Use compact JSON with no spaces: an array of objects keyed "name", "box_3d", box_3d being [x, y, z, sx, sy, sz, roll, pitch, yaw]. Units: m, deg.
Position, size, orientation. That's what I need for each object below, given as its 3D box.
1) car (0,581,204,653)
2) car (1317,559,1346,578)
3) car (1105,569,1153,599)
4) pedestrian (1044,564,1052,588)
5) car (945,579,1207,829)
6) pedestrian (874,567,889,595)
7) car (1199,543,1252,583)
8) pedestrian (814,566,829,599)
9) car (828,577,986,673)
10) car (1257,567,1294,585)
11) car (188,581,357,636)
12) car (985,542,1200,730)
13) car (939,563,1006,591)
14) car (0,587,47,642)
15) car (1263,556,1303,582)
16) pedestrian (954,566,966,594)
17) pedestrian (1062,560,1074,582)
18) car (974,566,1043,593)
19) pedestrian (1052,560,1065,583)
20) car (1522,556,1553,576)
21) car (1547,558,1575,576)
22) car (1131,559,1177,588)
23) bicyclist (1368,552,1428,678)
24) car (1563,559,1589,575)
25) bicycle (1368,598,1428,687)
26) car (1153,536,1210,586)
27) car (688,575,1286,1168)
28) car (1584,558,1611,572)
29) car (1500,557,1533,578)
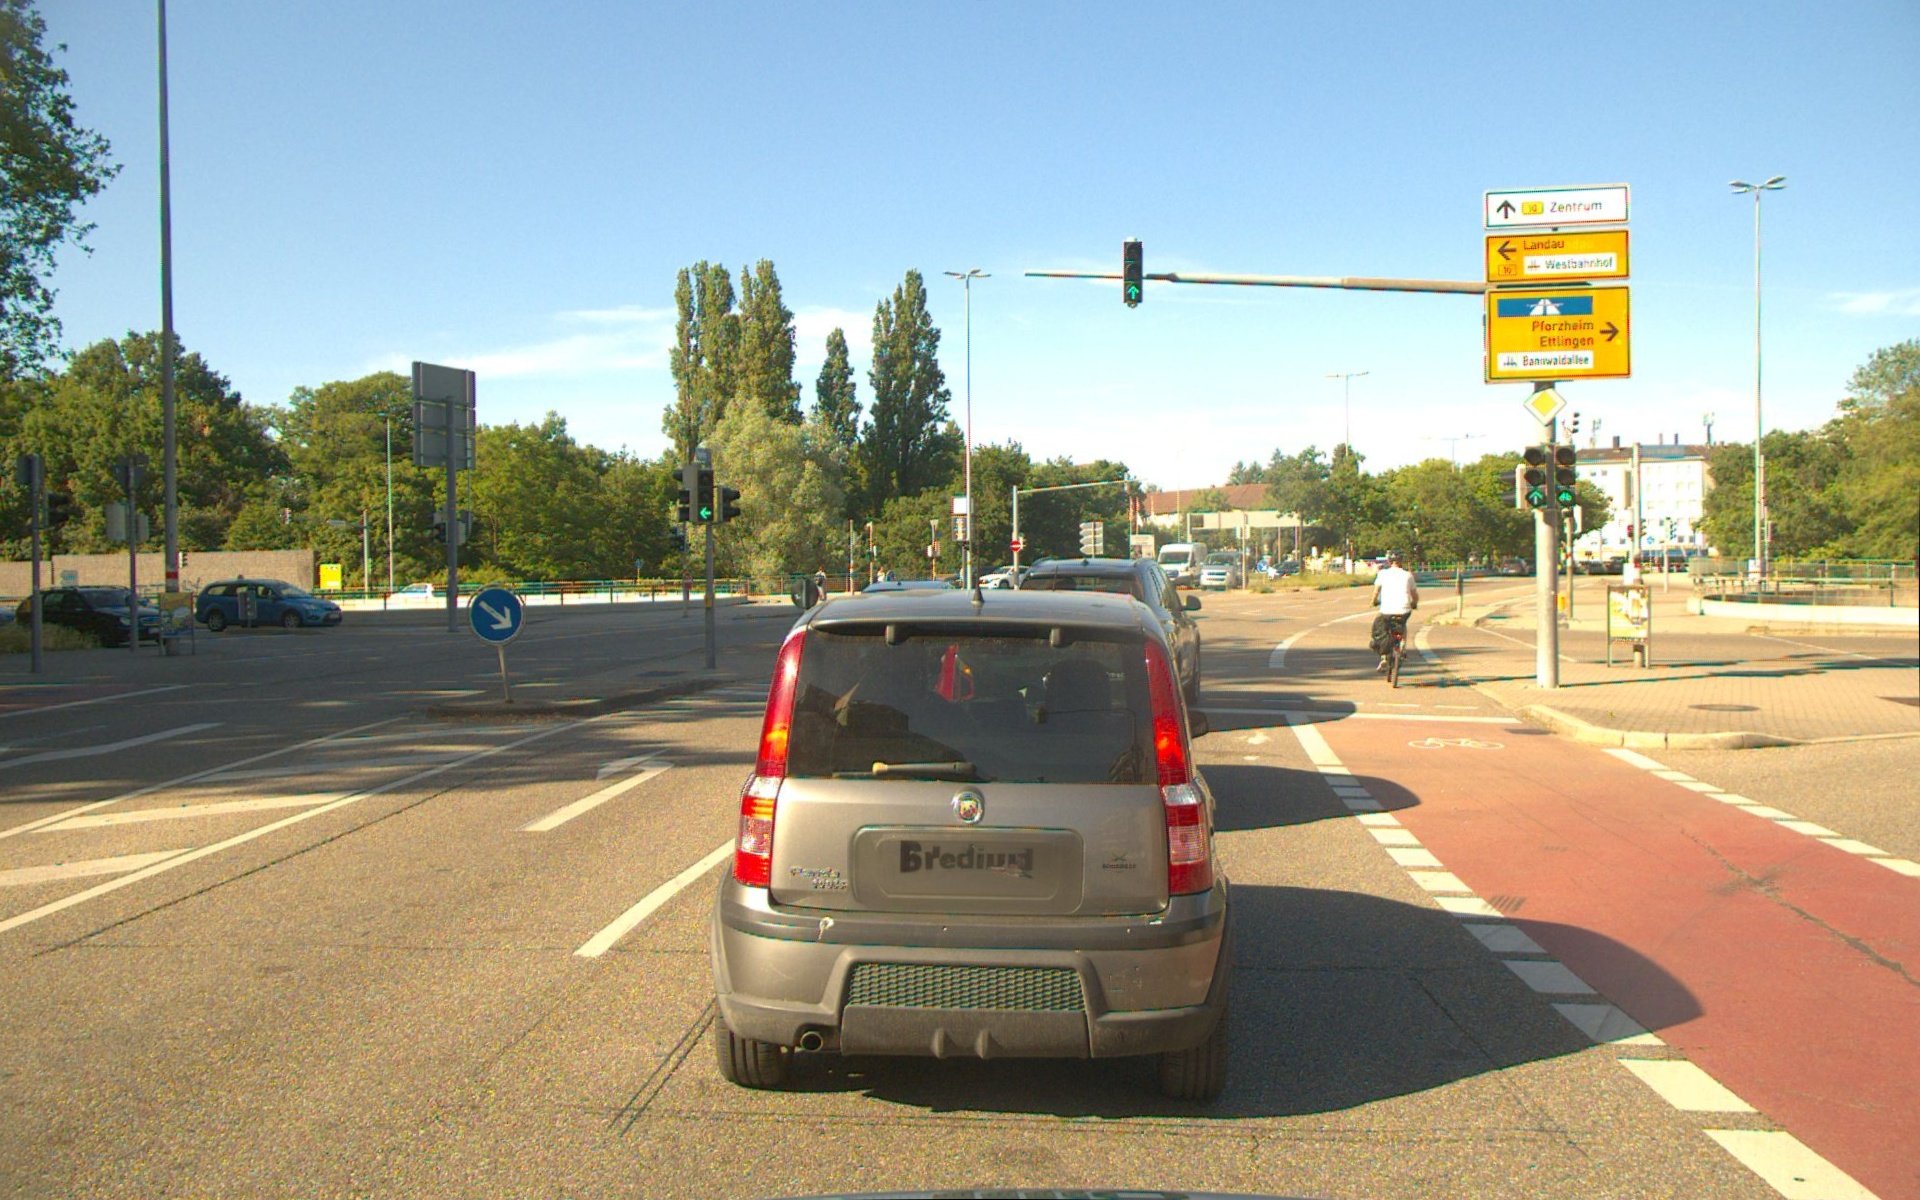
[{"name":"car","box_3d":[-21.043,0.406,40.212,4.668,1.649,1.953,0,1,15]},{"name":"car","box_3d":[39.794,-3.382,177.076,1.955,1.847,3.994,1,0,28]},{"name":"car","box_3d":[9.433,-0.913,91.888,1.896,1.534,4.003,-2,1,17]},{"name":"pedestrian","box_3d":[6.545,-1.770,123.117,0.488,1.731,0.500,1,-1,24]},{"name":"car","box_3d":[0.854,0.619,12.008,1.583,1.488,3.753,-1,1,4]},{"name":"pedestrian","box_3d":[-4.451,-1.068,93.704,0.698,1.574,0.725,-2,-1,-16]},{"name":"car","box_3d":[13.974,-1.956,86.981,1.896,2.043,4.933,0,1,19]},{"name":"pedestrian","box_3d":[-6.259,-0.803,74.731,0.666,1.488,0.702,-1,1,-7]},{"name":"car","box_3d":[-0.794,0.351,27.752,1.742,1.439,4.323,0,1,11]},{"name":"car","box_3d":[27.361,-2.077,143.275,1.956,1.474,3.992,1,0,29]},{"name":"car","box_3d":[-20.749,0.253,49.980,4.348,1.567,1.953,-1,1,13]},{"name":"car","box_3d":[1.618,0.315,18.682,1.903,1.872,4.157,-1,1,12]},{"name":"car","box_3d":[0.785,-1.456,104.951,3.961,1.653,1.874,1,0,-39]},{"name":"car","box_3d":[-26.380,0.391,43.513,4.404,1.381,1.879,0,1,24]},{"name":"car","box_3d":[21.203,-2.024,108.496,1.896,1.650,4.508,0,1,19]},{"name":"pedestrian","box_3d":[0.003,-1.133,94.422,0.547,1.574,0.573,-2,0,-16]},{"name":"pedestrian","box_3d":[8.299,-2.244,126.836,0.706,1.670,0.672,1,-1,24]},{"name":"car","box_3d":[2.990,-1.294,101.996,4.292,1.562,1.758,-2,3,-42]},{"name":"pedestrian","box_3d":[7.308,-2.130,122.550,0.777,1.693,0.626,0,-1,40]},{"name":"car","box_3d":[48.491,-2.858,138.901,1.908,1.555,4.092,0,1,28]},{"name":"car","box_3d":[55.727,-3.069,153.233,1.908,1.555,4.092,0,1,28]},{"name":"car","box_3d":[11.602,-1.582,98.523,1.773,1.568,4.619,-2,1,18]},{"name":"bicyclist","box_3d":[5.991,0.185,22.676,0.708,1.688,1.114,0,1,11]},{"name":"car","box_3d":[61.559,-3.299,165.209,1.908,1.555,4.092,0,1,28]},{"name":"bicycle","box_3d":[5.984,0.558,22.663,0.676,1.121,1.828,1,1,11]},{"name":"car","box_3d":[12.201,-2.172,90.943,1.896,2.621,6.091,0,1,19]},{"name":"car","box_3d":[0.214,0.700,6.332,1.583,1.542,3.822,-1,1,4]},{"name":"car","box_3d":[71.590,-3.930,185.767,1.913,1.555,4.082,0,1,36]},{"name":"car","box_3d":[43.479,-2.547,129.151,1.907,1.555,4.093,0,1,27]}]
